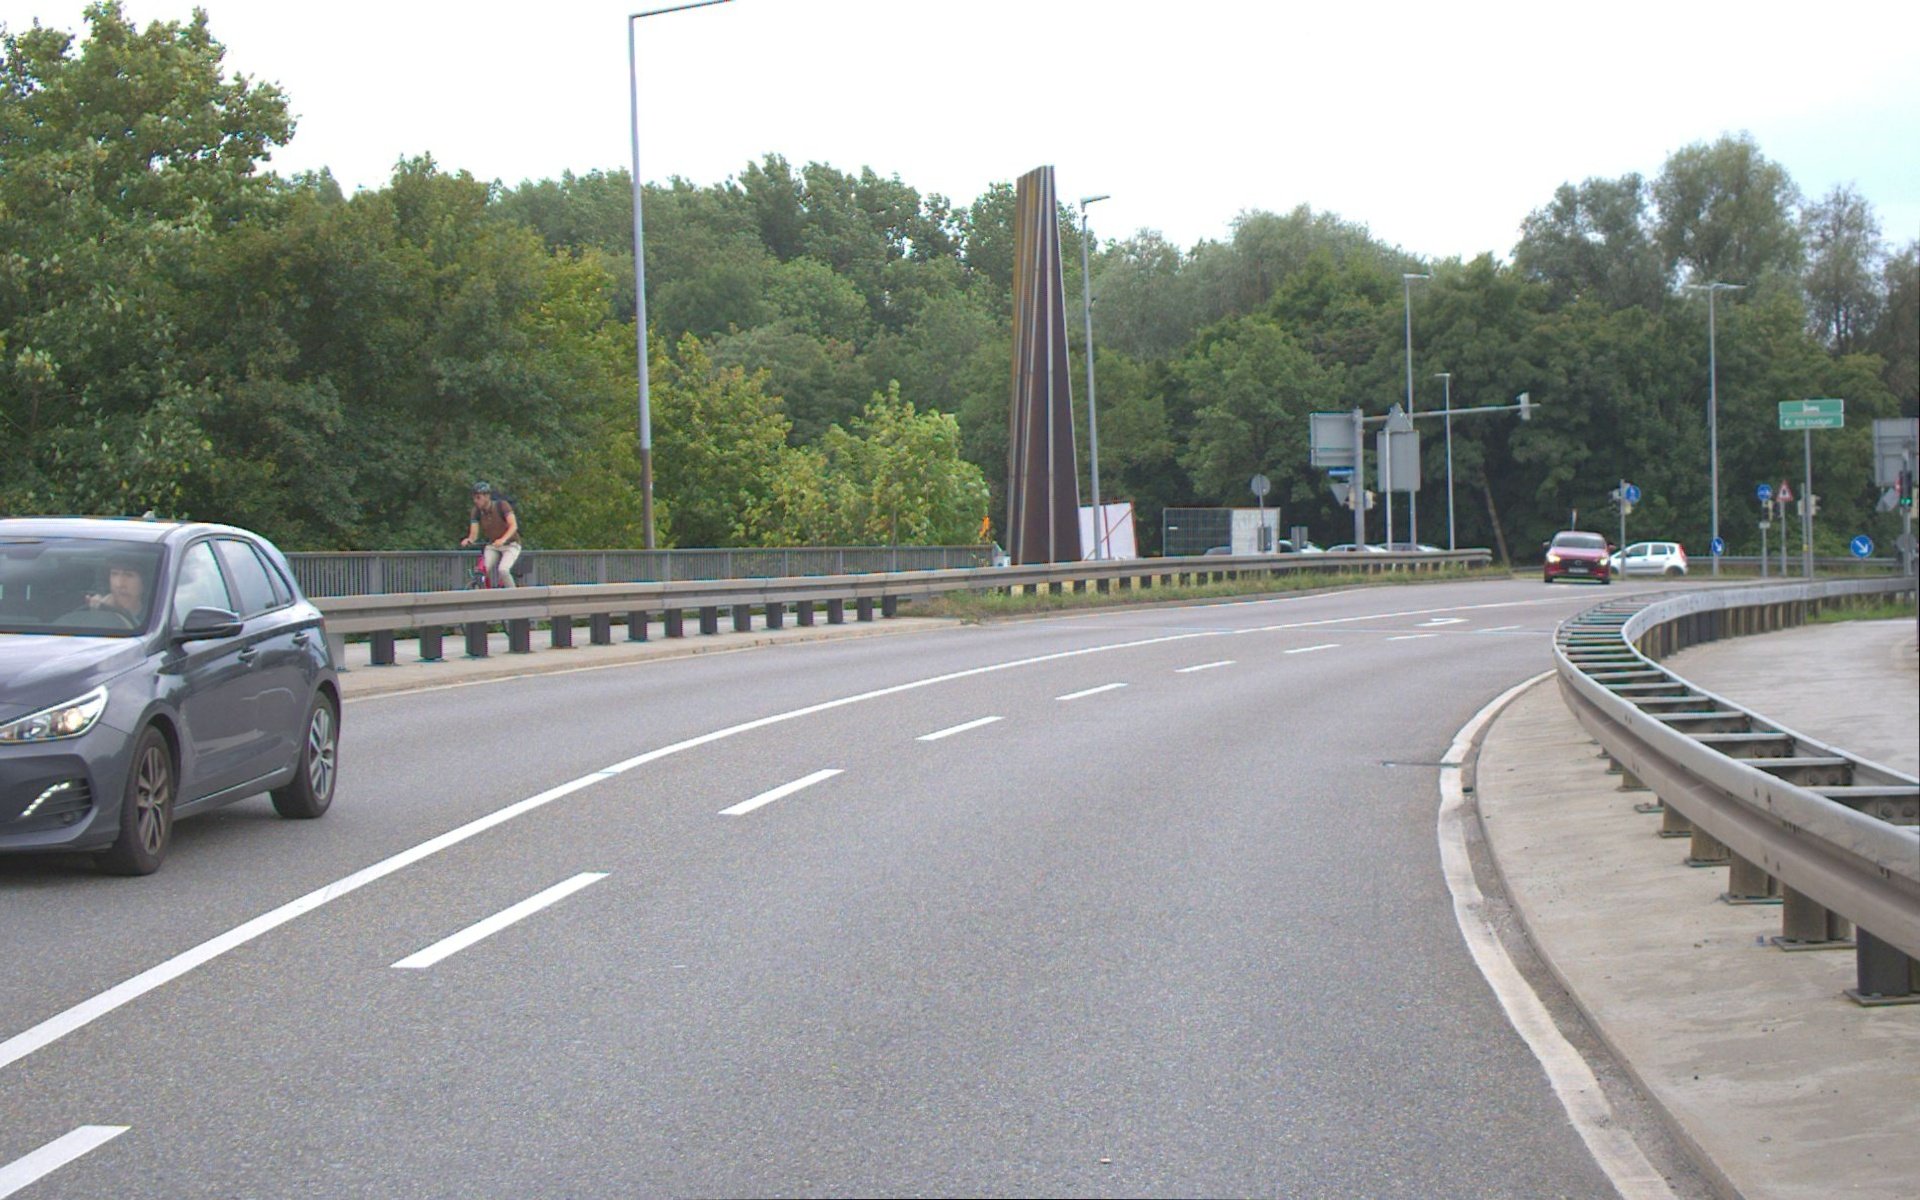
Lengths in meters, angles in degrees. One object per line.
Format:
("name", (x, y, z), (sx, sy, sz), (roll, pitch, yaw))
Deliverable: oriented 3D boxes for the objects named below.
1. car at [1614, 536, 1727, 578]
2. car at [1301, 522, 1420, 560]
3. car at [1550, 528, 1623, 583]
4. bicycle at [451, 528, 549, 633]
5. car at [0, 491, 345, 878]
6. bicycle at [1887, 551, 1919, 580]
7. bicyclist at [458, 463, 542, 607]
("car", (27.816, -1.690, 134.707), (3.987, 1.546, 2.000), (1, 1, 1))
("car", (14.208, -2.098, 122.213), (1.994, 1.305, 3.805), (0, 1, -43))
("car", (17.597, -1.257, 96.395), (1.797, 1.467, 4.633), (1, 1, 13))
("bicycle", (-5.268, -0.233, 39.441), (0.635, 1.170, 1.906), (1, 1, 7))
("car", (-4.047, 0.274, 15.333), (1.808, 1.472, 4.383), (1, 1, 0))
("bicycle", (35.437, -1.283, 127.774), (0.706, 1.049, 1.944), (0, -1, -33))
("bicyclist", (-5.267, -0.744, 39.394), (0.771, 1.626, 0.649), (1, 0, 10))
